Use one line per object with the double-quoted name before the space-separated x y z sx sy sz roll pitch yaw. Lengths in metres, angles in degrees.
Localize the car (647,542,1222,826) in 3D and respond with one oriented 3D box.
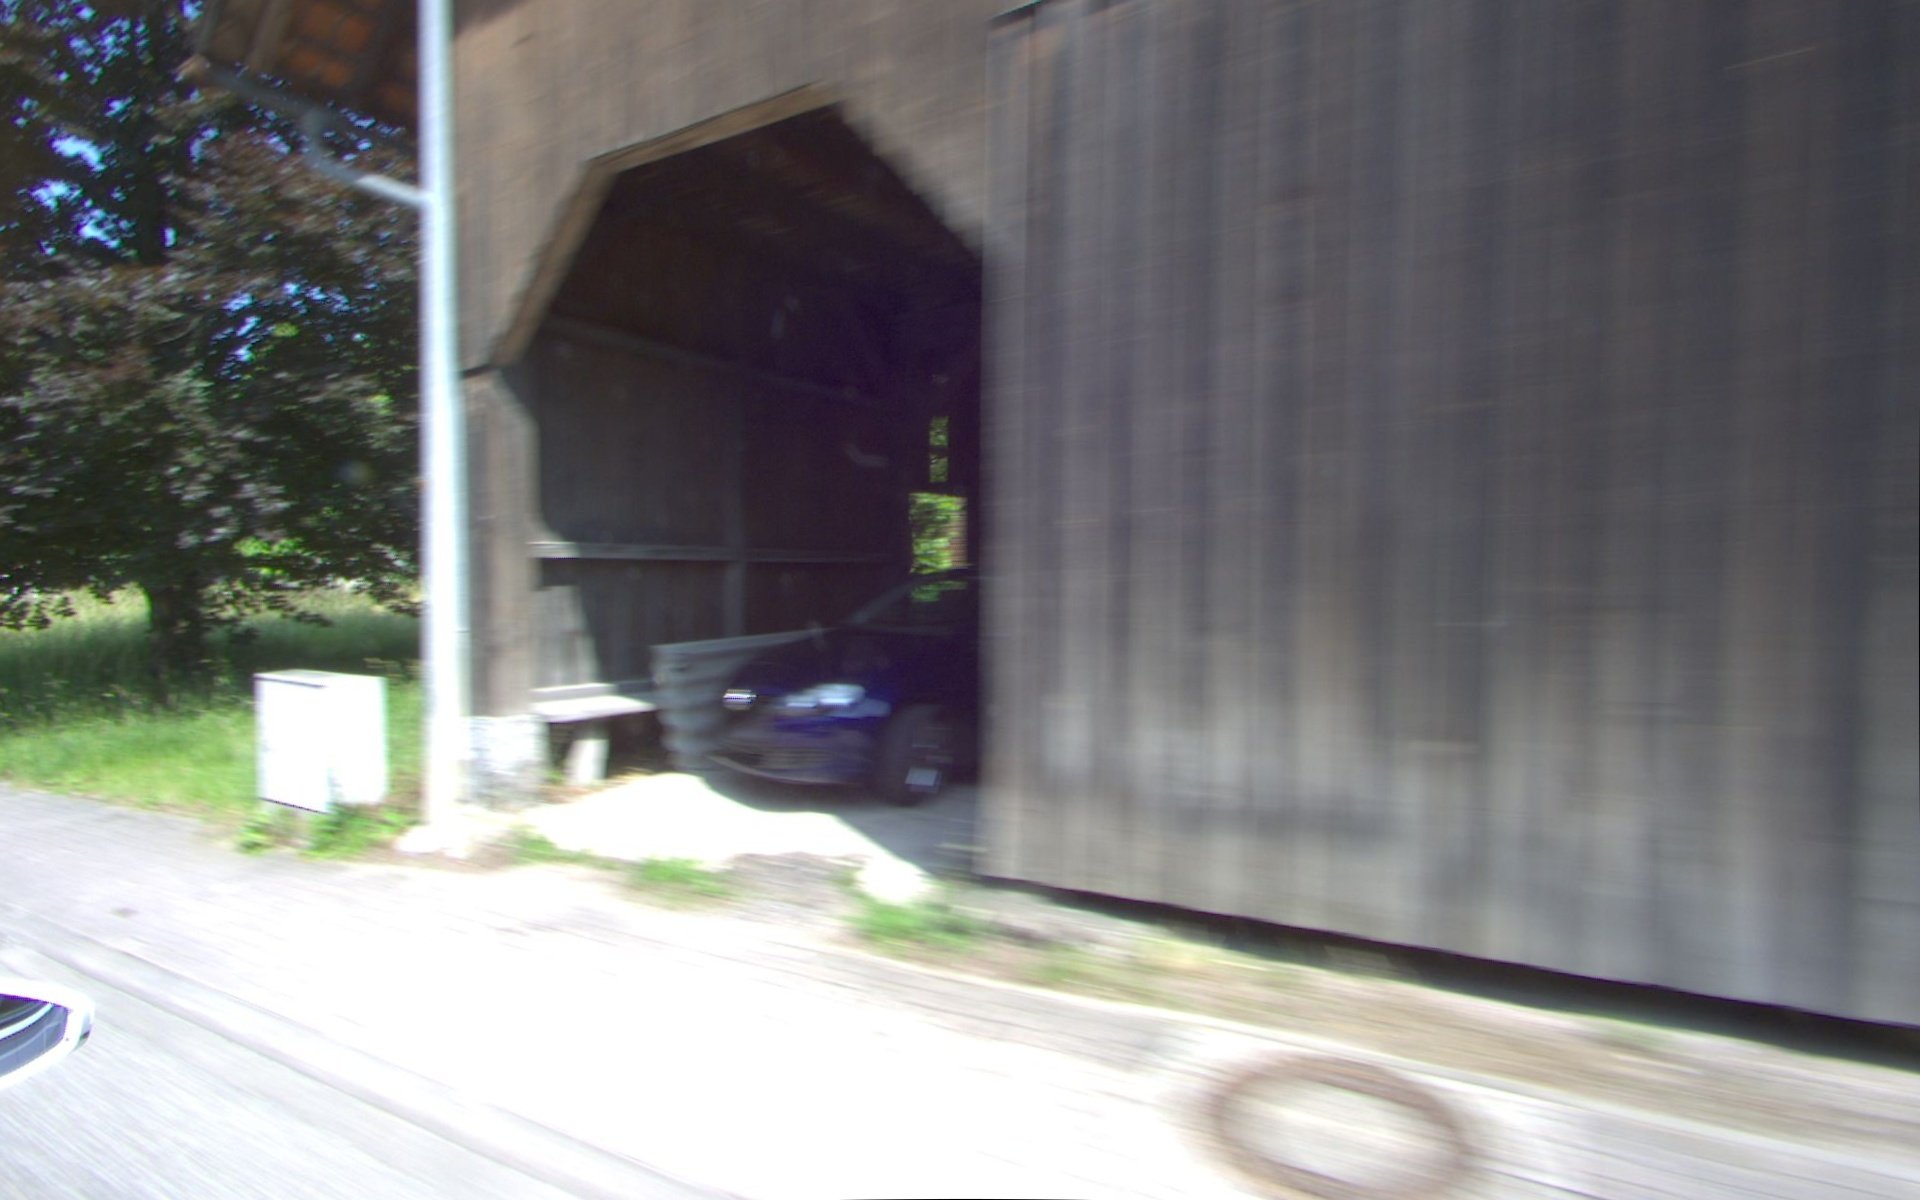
"car" -0.010 0.368 7.361 3.955 1.529 1.854 -3 3 -41
